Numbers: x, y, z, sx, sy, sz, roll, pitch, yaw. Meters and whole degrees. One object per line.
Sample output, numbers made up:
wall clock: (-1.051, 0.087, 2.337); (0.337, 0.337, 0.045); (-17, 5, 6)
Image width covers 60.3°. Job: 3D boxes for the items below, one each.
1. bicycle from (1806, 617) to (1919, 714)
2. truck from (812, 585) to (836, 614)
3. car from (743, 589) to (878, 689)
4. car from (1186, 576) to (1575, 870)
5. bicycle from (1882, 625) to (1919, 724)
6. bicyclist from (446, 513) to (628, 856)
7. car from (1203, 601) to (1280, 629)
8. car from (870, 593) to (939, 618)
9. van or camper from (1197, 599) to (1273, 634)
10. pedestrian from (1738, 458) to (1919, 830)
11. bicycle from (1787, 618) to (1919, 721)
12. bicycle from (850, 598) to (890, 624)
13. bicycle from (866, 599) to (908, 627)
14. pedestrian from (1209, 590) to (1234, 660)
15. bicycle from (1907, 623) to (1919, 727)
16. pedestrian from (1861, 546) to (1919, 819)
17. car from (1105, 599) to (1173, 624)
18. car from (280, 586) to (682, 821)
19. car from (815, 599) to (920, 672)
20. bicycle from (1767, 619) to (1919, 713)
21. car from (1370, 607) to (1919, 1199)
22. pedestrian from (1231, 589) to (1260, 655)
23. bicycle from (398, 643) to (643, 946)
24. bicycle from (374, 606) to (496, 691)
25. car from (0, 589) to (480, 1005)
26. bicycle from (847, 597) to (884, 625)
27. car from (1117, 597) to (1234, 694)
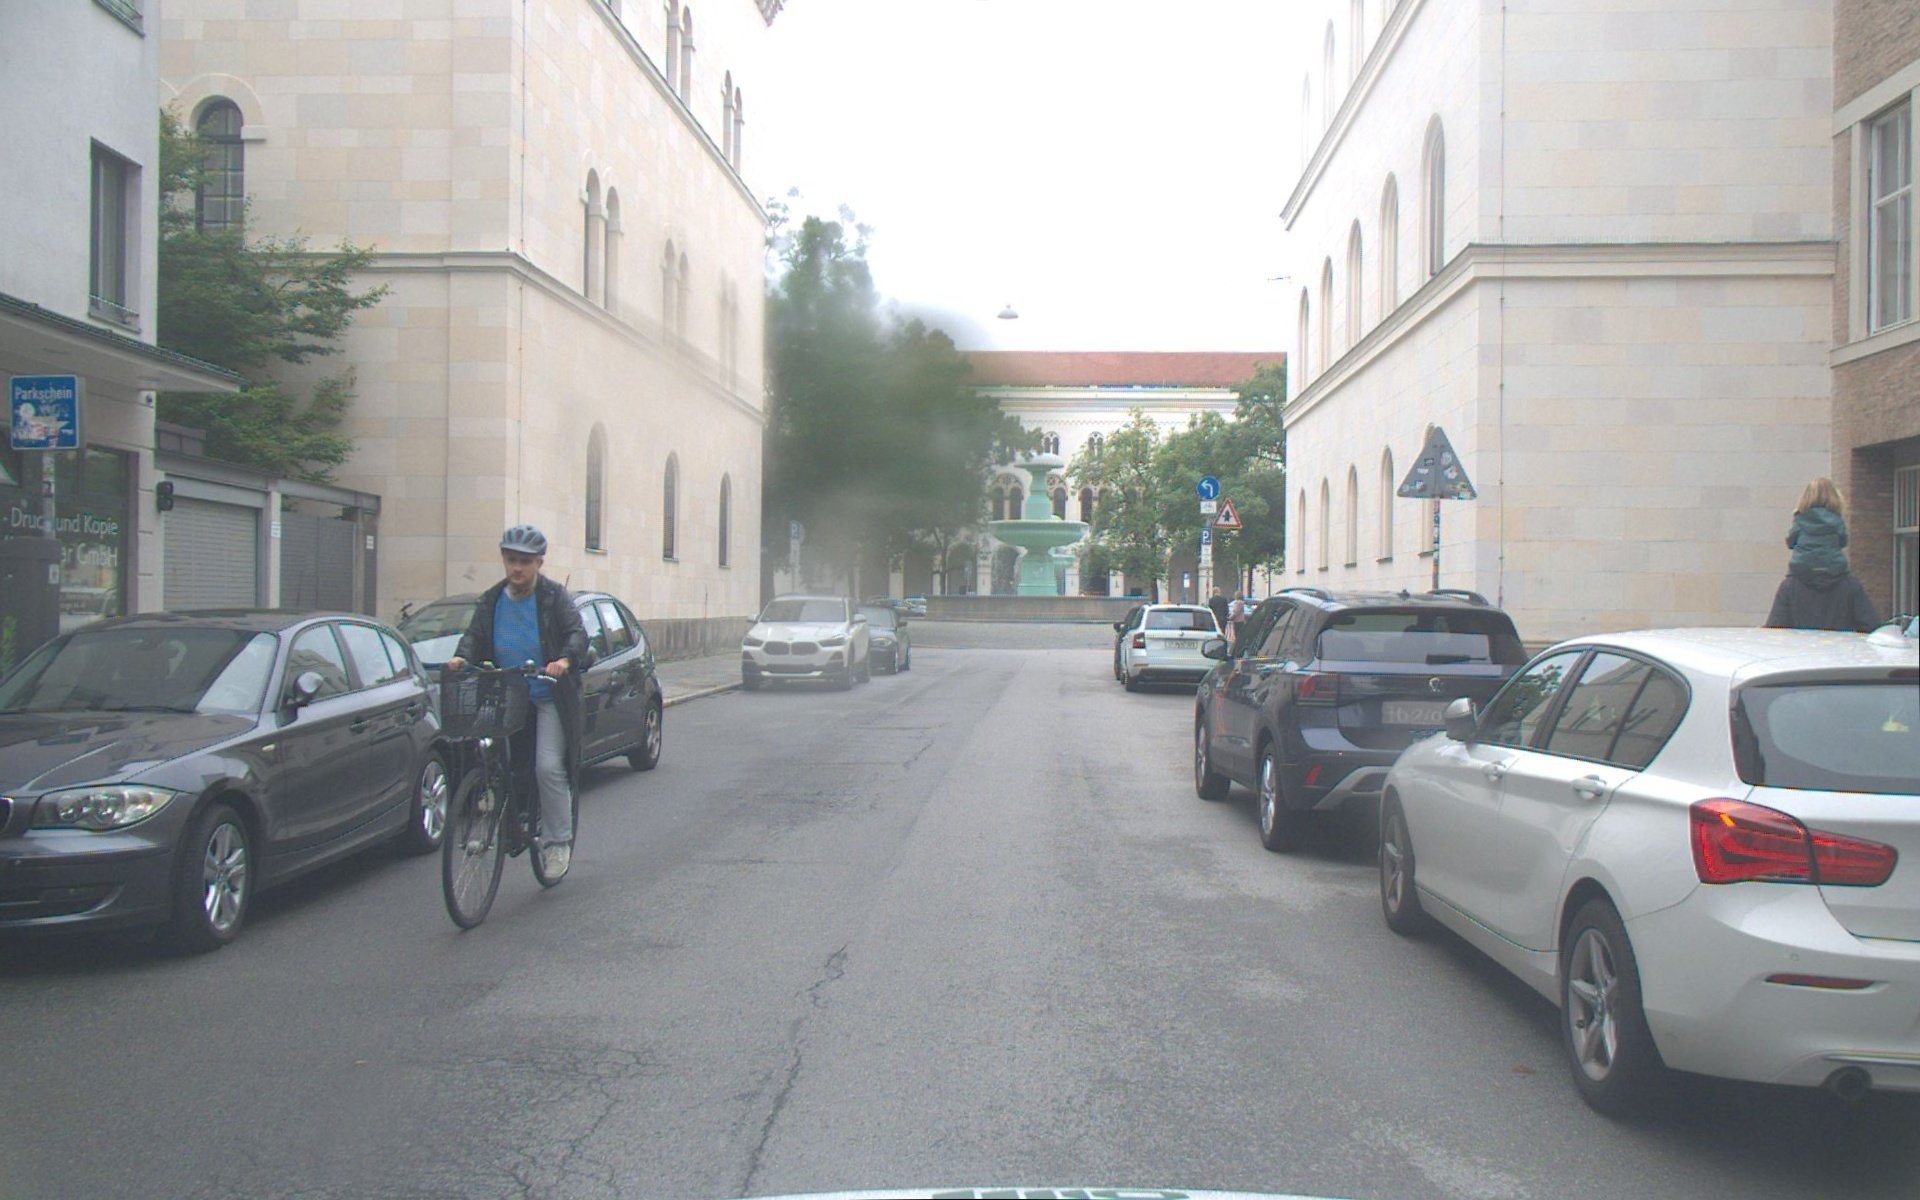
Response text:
bicycle: (10.405, 0.731, 18.547); (1.595, 1.060, 0.349); (-1, 0, 7)
truck: (-12.540, -0.084, 152.425); (1.956, 2.532, 3.994); (1, 1, -7)
car: (-2.472, 0.637, 28.305); (1.741, 1.561, 4.213); (-1, -1, 2)
car: (2.636, 0.688, 11.290); (1.711, 1.621, 3.956); (1, 0, 1)
bicycle: (10.964, 0.802, 18.005); (1.595, 1.060, 0.348); (-1, 0, 6)
bicyclist: (-2.034, 0.388, 8.056); (0.643, 1.578, 0.887); (0, 0, 1)
car: (16.312, 0.862, 96.018); (4.265, 1.551, 1.805); (0, 0, 5)
car: (-3.255, 0.326, 97.067); (3.904, 1.400, 2.001); (0, 0, 2)
van or camper: (17.728, 1.098, 106.793); (4.485, 2.049, 2.000); (-2, -1, 1)
pedestrian: (5.462, 0.259, 10.432); (0.776, 2.236, 0.814); (1, 0, 9)
bicycle: (9.645, 0.739, 17.697); (1.399, 1.060, 0.348); (-1, 0, 2)
bicycle: (-3.773, 0.450, 69.339); (1.503, 1.037, 0.699); (1, 0, 15)
bicycle: (-2.986, 0.525, 67.333); (1.584, 1.118, 0.617); (1, 0, 15)
pedestrian: (6.865, 0.648, 43.397); (0.628, 1.840, 0.489); (0, 0, 9)
bicycle: (10.638, 0.760, 16.963); (1.595, 1.060, 0.348); (-1, 0, 6)
pedestrian: (6.415, 0.519, 10.705); (0.839, 1.722, 0.752); (1, 1, 15)
car: (10.403, 0.679, 96.279); (3.902, 1.427, 1.826); (0, 0, 6)
car: (-3.489, 0.668, 12.876); (1.714, 1.479, 4.017); (-1, 1, 4)
car: (-1.864, 0.716, 34.534); (1.663, 1.417, 4.213); (-1, -1, 4)
bicycle: (10.255, 0.767, 19.154); (1.595, 1.060, 0.349); (-1, 0, 7)
car: (2.811, 0.784, 6.130); (1.639, 1.442, 4.202); (1, 0, 2)
pedestrian: (7.549, 0.584, 43.763); (0.608, 1.711, 0.545); (2, 0, -3)
bicycle: (-2.041, 0.846, 7.952); (0.635, 1.218, 1.950); (0, 0, 0)
bicycle: (-7.596, 0.691, 23.948); (1.675, 1.198, 0.476); (0, 0, 13)
car: (-3.857, 0.727, 8.110); (1.714, 1.479, 4.016); (-1, 1, 1)
bicycle: (-3.909, 0.443, 68.592); (1.371, 1.118, 0.657); (1, 0, 15)
car: (3.672, 0.730, 28.780); (1.752, 1.502, 4.315); (1, 0, 4)
